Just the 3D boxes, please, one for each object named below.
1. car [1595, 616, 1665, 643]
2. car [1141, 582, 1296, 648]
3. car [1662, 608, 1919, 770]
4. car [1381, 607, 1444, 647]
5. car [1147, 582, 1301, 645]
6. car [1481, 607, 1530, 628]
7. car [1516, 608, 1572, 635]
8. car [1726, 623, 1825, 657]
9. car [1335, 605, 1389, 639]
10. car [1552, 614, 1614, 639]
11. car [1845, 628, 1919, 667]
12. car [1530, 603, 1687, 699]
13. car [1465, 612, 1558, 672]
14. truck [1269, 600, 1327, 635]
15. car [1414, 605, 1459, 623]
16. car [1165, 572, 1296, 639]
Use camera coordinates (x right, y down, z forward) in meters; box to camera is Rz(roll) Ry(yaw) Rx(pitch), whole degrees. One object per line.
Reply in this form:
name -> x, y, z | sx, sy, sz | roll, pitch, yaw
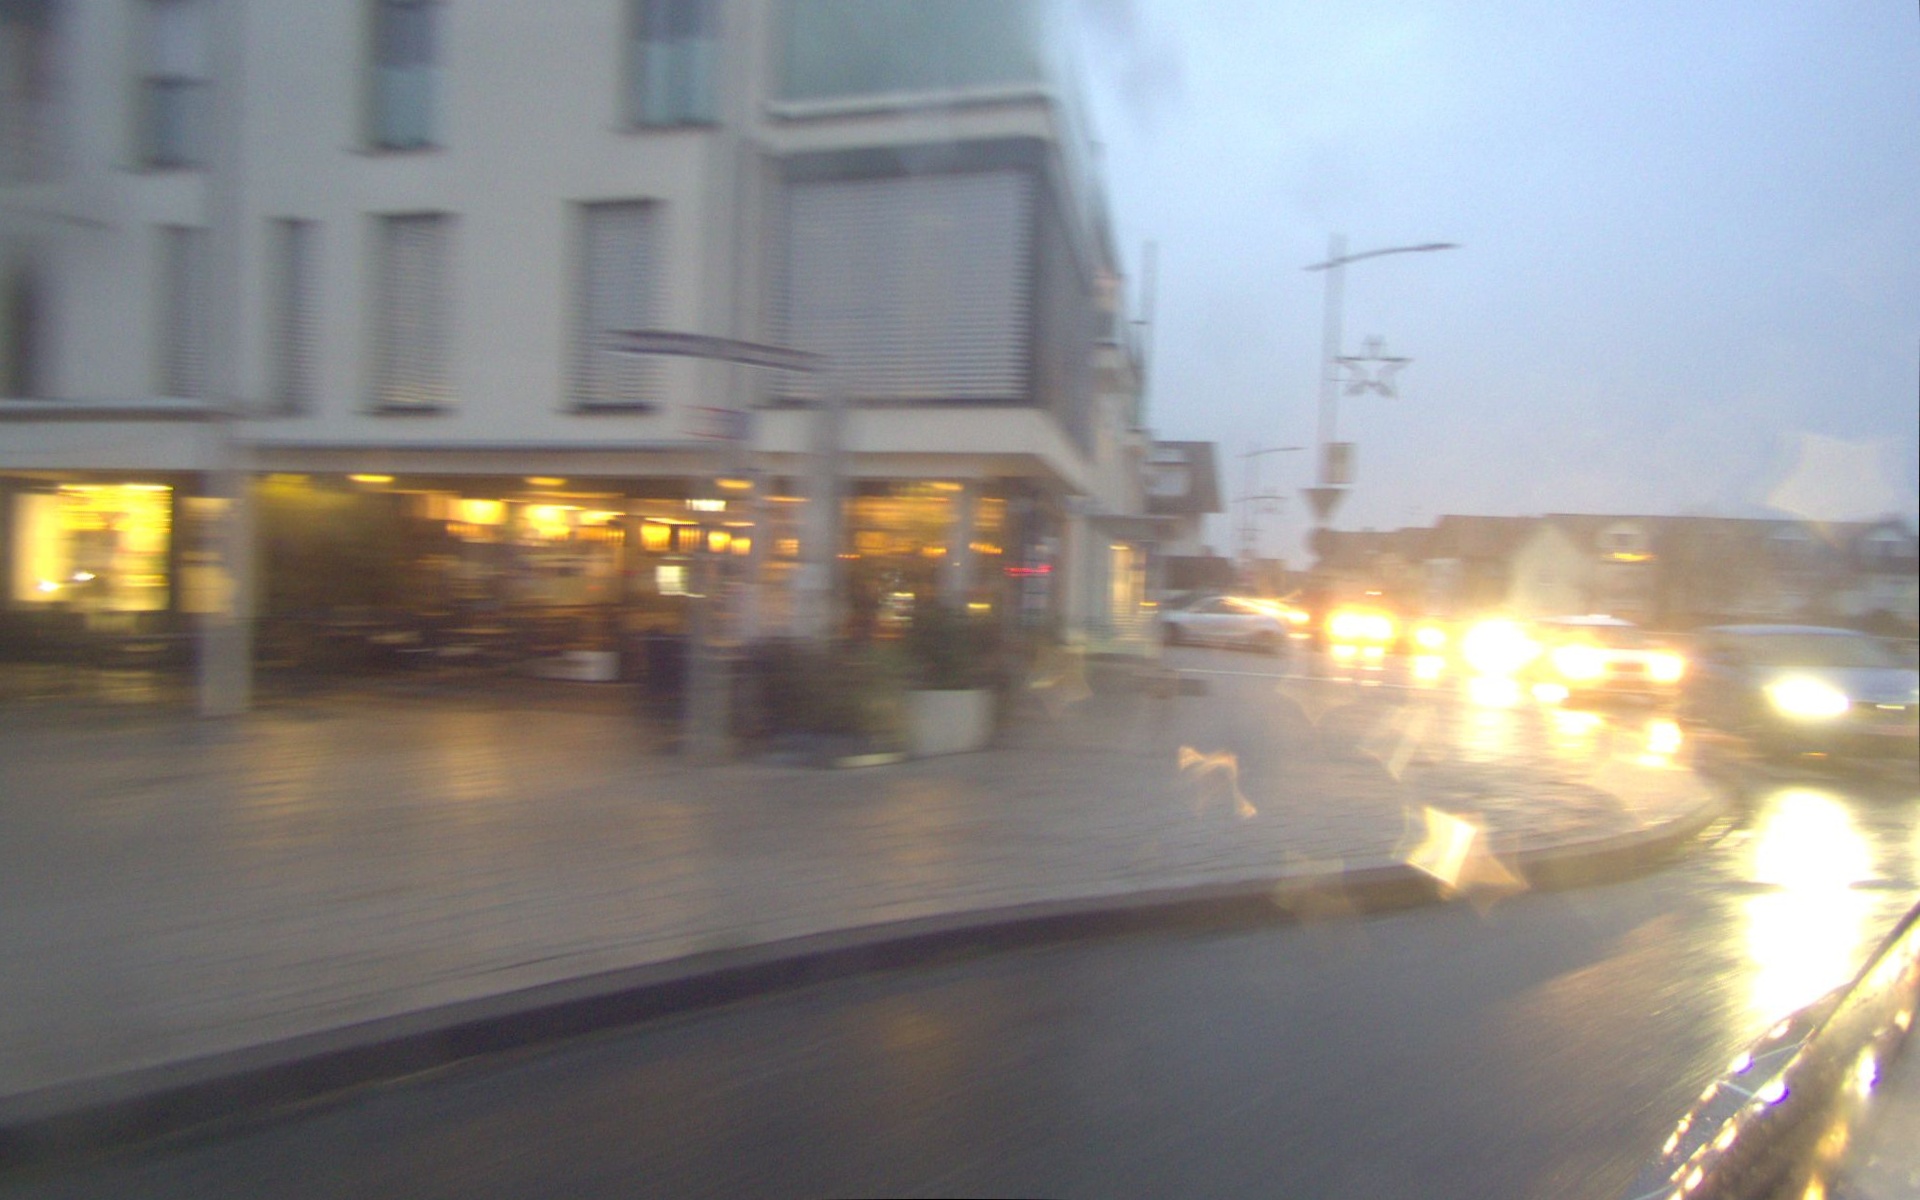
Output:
car -> 43.033, 1.871, 65.123 | 1.767, 1.487, 4.254 | 2, 1, 3
car -> 7.261, 0.401, 28.745 | 3.932, 1.522, 1.810 | 4, 1, 7
car -> 10.205, 0.915, 12.115 | 1.864, 1.599, 3.976 | 0, 0, 18
car -> 18.536, 1.069, 41.587 | 1.717, 1.461, 3.981 | 1, 0, 15
car -> 8.195, 0.397, 31.821 | 4.454, 1.510, 1.968 | 5, 1, 12
car -> 43.698, 1.413, 81.177 | 1.644, 1.487, 4.018 | 4, 0, -1
car -> 43.605, 1.583, 75.621 | 1.767, 1.850, 4.254 | 2, 1, 2
car -> 42.322, 2.033, 52.657 | 1.767, 1.487, 4.254 | 2, 1, 3
car -> 20.353, 1.080, 51.323 | 1.805, 1.563, 3.704 | 1, 1, 10
car -> 43.345, 1.797, 70.517 | 1.767, 1.487, 4.254 | 2, 1, 3
car -> 41.327, 2.095, 44.761 | 1.453, 1.527, 3.497 | 2, 1, 6
car -> 12.687, 0.939, 20.062 | 1.661, 1.645, 3.974 | 2, 0, 19
car -> 15.098, 1.094, 27.882 | 1.551, 1.487, 3.596 | 1, 0, 17
truck -> 23.562, 1.175, 70.797 | 2.208, 2.258, 6.099 | 1, 1, 3
car -> 43.835, 1.285, 93.223 | 1.765, 1.487, 4.618 | 2, 1, -1
car -> 10.156, 0.192, 38.352 | 4.489, 1.957, 1.967 | 7, 1, 13
